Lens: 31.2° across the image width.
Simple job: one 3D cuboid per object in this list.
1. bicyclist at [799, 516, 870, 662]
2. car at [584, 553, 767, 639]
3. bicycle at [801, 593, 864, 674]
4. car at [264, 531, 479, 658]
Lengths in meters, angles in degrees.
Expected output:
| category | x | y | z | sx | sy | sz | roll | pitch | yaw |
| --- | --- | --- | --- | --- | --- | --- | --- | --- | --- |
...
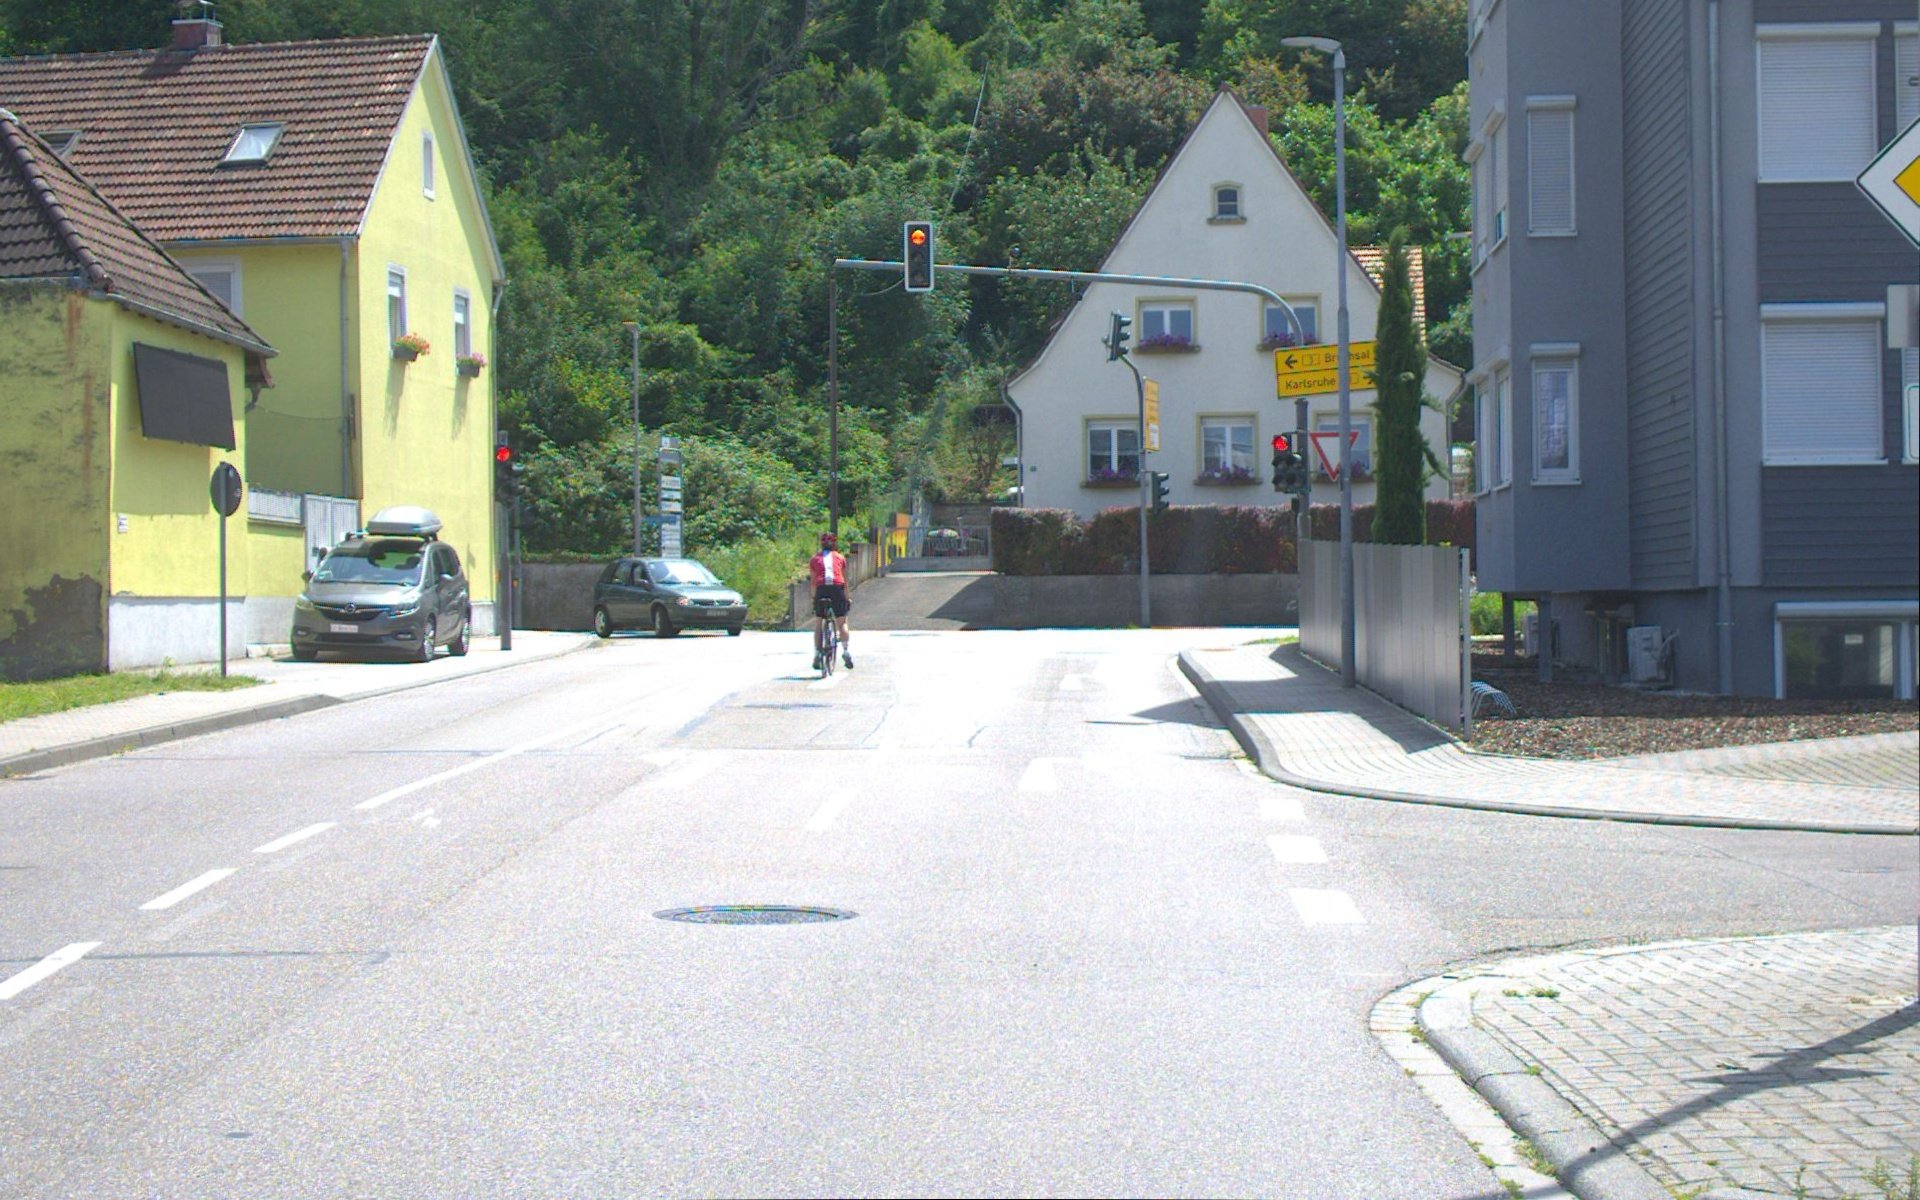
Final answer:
| category | x | y | z | sx | sy | sz | roll | pitch | yaw |
| --- | --- | --- | --- | --- | --- | --- | --- | --- | --- |
| bicyclist | -1.449 | -0.130 | 39.755 | 0.761 | 1.659 | 0.869 | 1 | 1 | 1 |
| car | -5.076 | -0.073 | 60.924 | 1.780 | 1.428 | 3.872 | -2 | 1 | -28 |
| bicycle | -1.475 | 0.380 | 39.951 | 0.630 | 0.902 | 1.657 | 1 | 1 | 1 |
| car | -8.003 | -0.110 | 47.156 | 1.993 | 1.630 | 4.630 | 1 | 1 | 2 |
